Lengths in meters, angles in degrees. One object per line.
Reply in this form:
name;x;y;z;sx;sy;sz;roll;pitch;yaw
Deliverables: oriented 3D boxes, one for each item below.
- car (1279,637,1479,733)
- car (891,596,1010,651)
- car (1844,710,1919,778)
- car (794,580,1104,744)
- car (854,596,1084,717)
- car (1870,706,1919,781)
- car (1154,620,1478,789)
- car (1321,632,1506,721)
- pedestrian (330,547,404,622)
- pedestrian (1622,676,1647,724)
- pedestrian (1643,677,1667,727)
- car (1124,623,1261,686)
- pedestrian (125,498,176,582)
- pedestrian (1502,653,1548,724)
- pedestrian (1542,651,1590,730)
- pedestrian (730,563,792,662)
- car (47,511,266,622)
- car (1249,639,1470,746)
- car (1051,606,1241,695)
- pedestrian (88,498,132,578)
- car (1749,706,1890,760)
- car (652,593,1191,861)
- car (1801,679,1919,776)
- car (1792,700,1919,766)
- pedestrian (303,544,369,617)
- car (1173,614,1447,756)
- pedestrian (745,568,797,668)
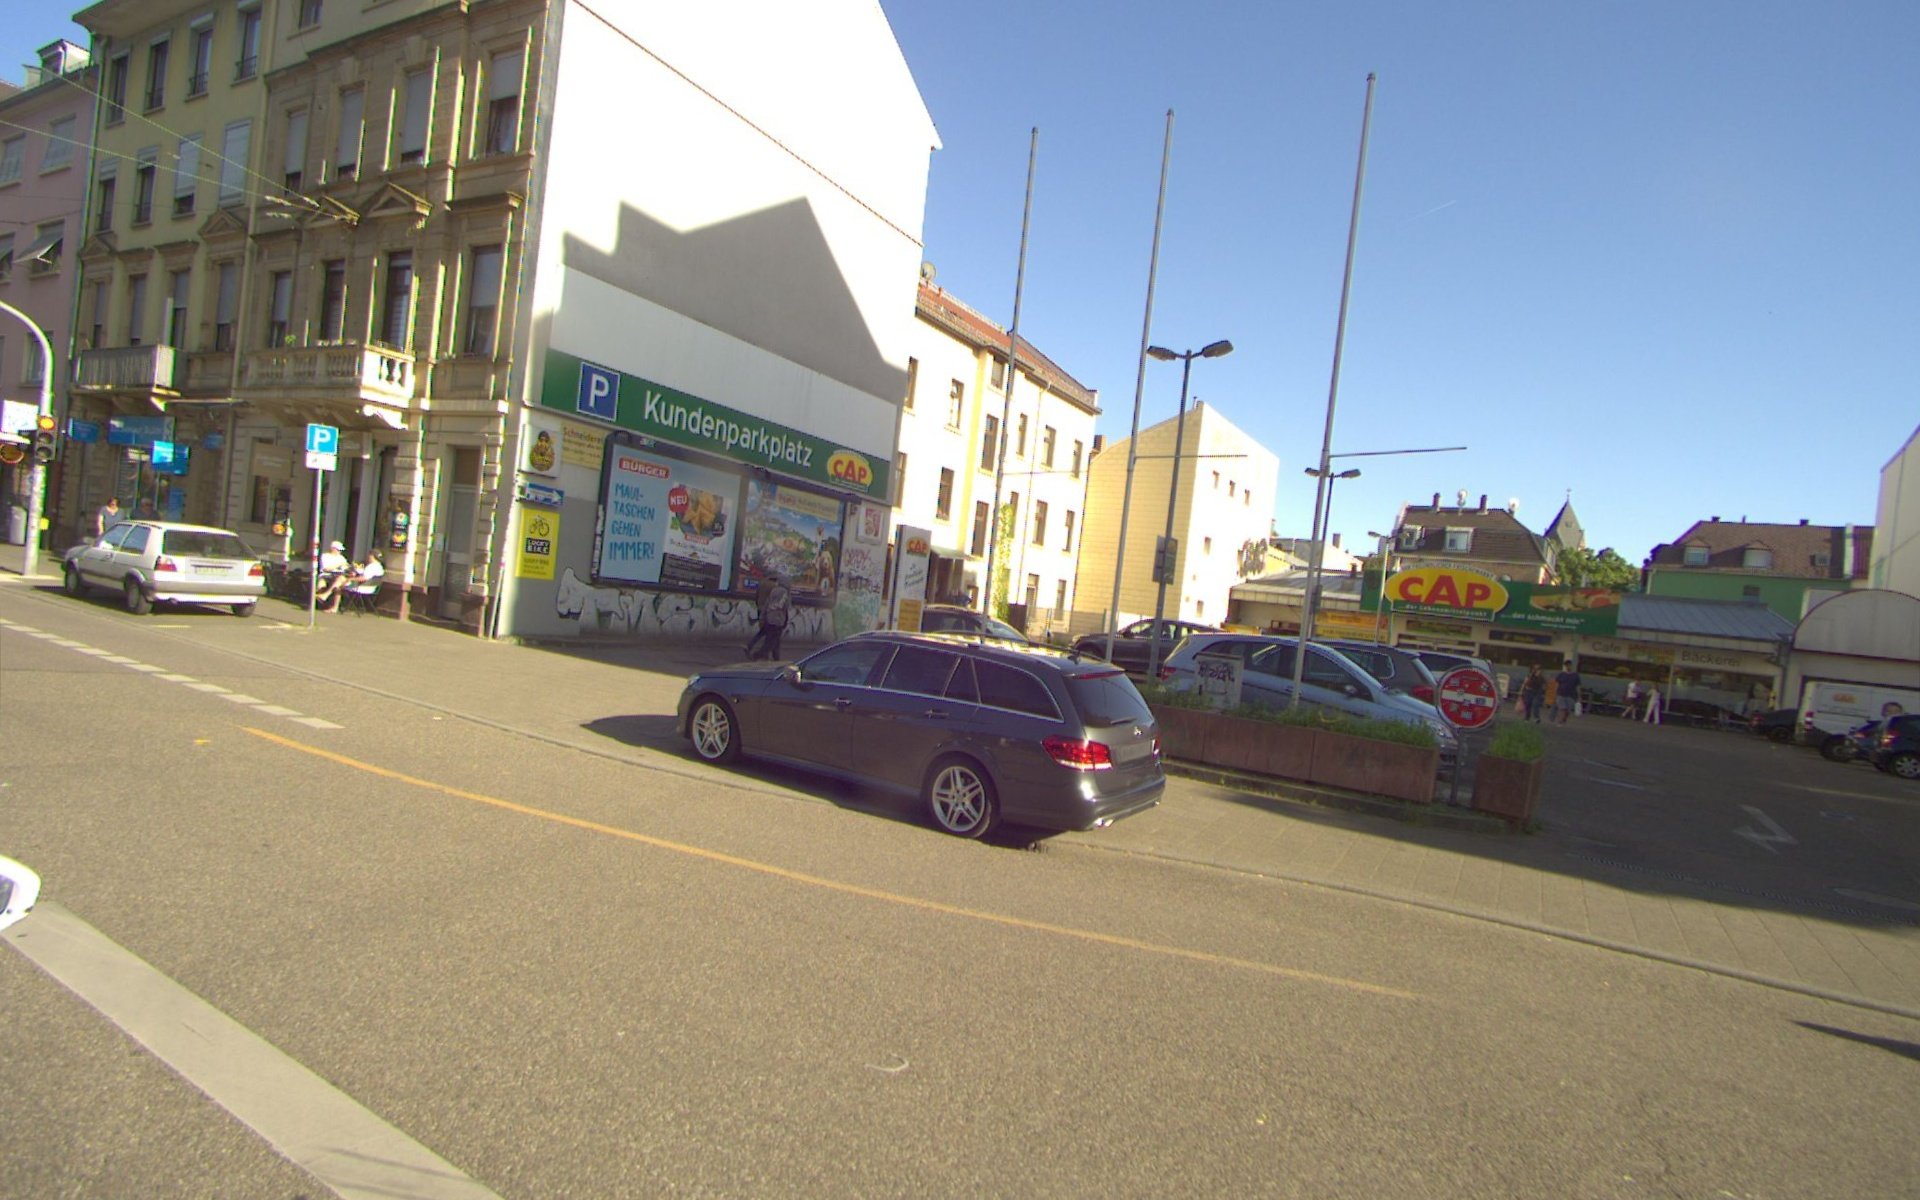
car;9.456;1.870;22.778;3.872;1.563;1.544;7;0;30
car;-0.367;0.854;36.928;3.933;1.482;1.756;7;0;31
car;25.229;3.845;25.820;3.590;1.552;1.675;5;-1;38
car;-0.181;0.786;13.925;3.835;1.665;1.652;7;1;28
car;0.135;0.902;16.656;3.336;1.504;1.561;7;0;28
car;24.184;3.593;23.850;3.590;1.690;1.675;5;-1;38
car;4.960;1.374;14.110;3.930;1.665;1.748;7;0;28
car;11.205;1.851;24.913;3.872;1.601;1.659;7;0;30
pedestrian;-10.968;-0.281;18.609;0.644;1.298;0.902;7;2;26
pedestrian;29.544;4.374;44.070;0.636;2.039;0.561;7;1;31
pedestrian;29.977;4.398;43.397;0.636;2.039;0.561;7;1;32
car;7.630;1.791;33.144;3.933;1.538;1.724;7;0;31
pedestrian;-18.652;-1.371;23.184;0.522;1.830;0.673;7;2;31
pedestrian;15.732;2.456;28.029;0.908;1.818;0.818;7;0;32
pedestrian;16.619;2.481;27.609;0.908;2.038;0.818;7;0;32
pedestrian;-3.940;0.255;19.960;0.734;1.864;0.763;7;0;17
car;-13.320;-0.573;16.625;3.937;1.435;1.562;7;3;32
car;8.120;1.821;20.516;3.872;1.563;1.544;7;0;30
car;4.712;1.274;25.674;4.309;1.687;1.756;7;0;31
pedestrian;-19.236;-1.403;22.766;0.382;1.729;0.550;7;1;34
car;33.034;5.087;38.807;3.941;1.371;1.752;7;0;39
car;-0.491;0.938;9.267;4.656;1.507;1.833;7;2;32
car;28.057;3.895;29.617;4.817;2.442;1.702;7;0;43
car;32.738;4.795;36.279;3.993;1.759;1.653;7;0;43
pedestrian;-11.634;-0.355;18.761;0.598;1.299;0.797;7;3;29
car;5.803;1.332;16.765;3.931;1.715;1.747;7;1;29
pedestrian;-3.491;0.336;18.633;0.503;1.777;0.763;7;0;11
